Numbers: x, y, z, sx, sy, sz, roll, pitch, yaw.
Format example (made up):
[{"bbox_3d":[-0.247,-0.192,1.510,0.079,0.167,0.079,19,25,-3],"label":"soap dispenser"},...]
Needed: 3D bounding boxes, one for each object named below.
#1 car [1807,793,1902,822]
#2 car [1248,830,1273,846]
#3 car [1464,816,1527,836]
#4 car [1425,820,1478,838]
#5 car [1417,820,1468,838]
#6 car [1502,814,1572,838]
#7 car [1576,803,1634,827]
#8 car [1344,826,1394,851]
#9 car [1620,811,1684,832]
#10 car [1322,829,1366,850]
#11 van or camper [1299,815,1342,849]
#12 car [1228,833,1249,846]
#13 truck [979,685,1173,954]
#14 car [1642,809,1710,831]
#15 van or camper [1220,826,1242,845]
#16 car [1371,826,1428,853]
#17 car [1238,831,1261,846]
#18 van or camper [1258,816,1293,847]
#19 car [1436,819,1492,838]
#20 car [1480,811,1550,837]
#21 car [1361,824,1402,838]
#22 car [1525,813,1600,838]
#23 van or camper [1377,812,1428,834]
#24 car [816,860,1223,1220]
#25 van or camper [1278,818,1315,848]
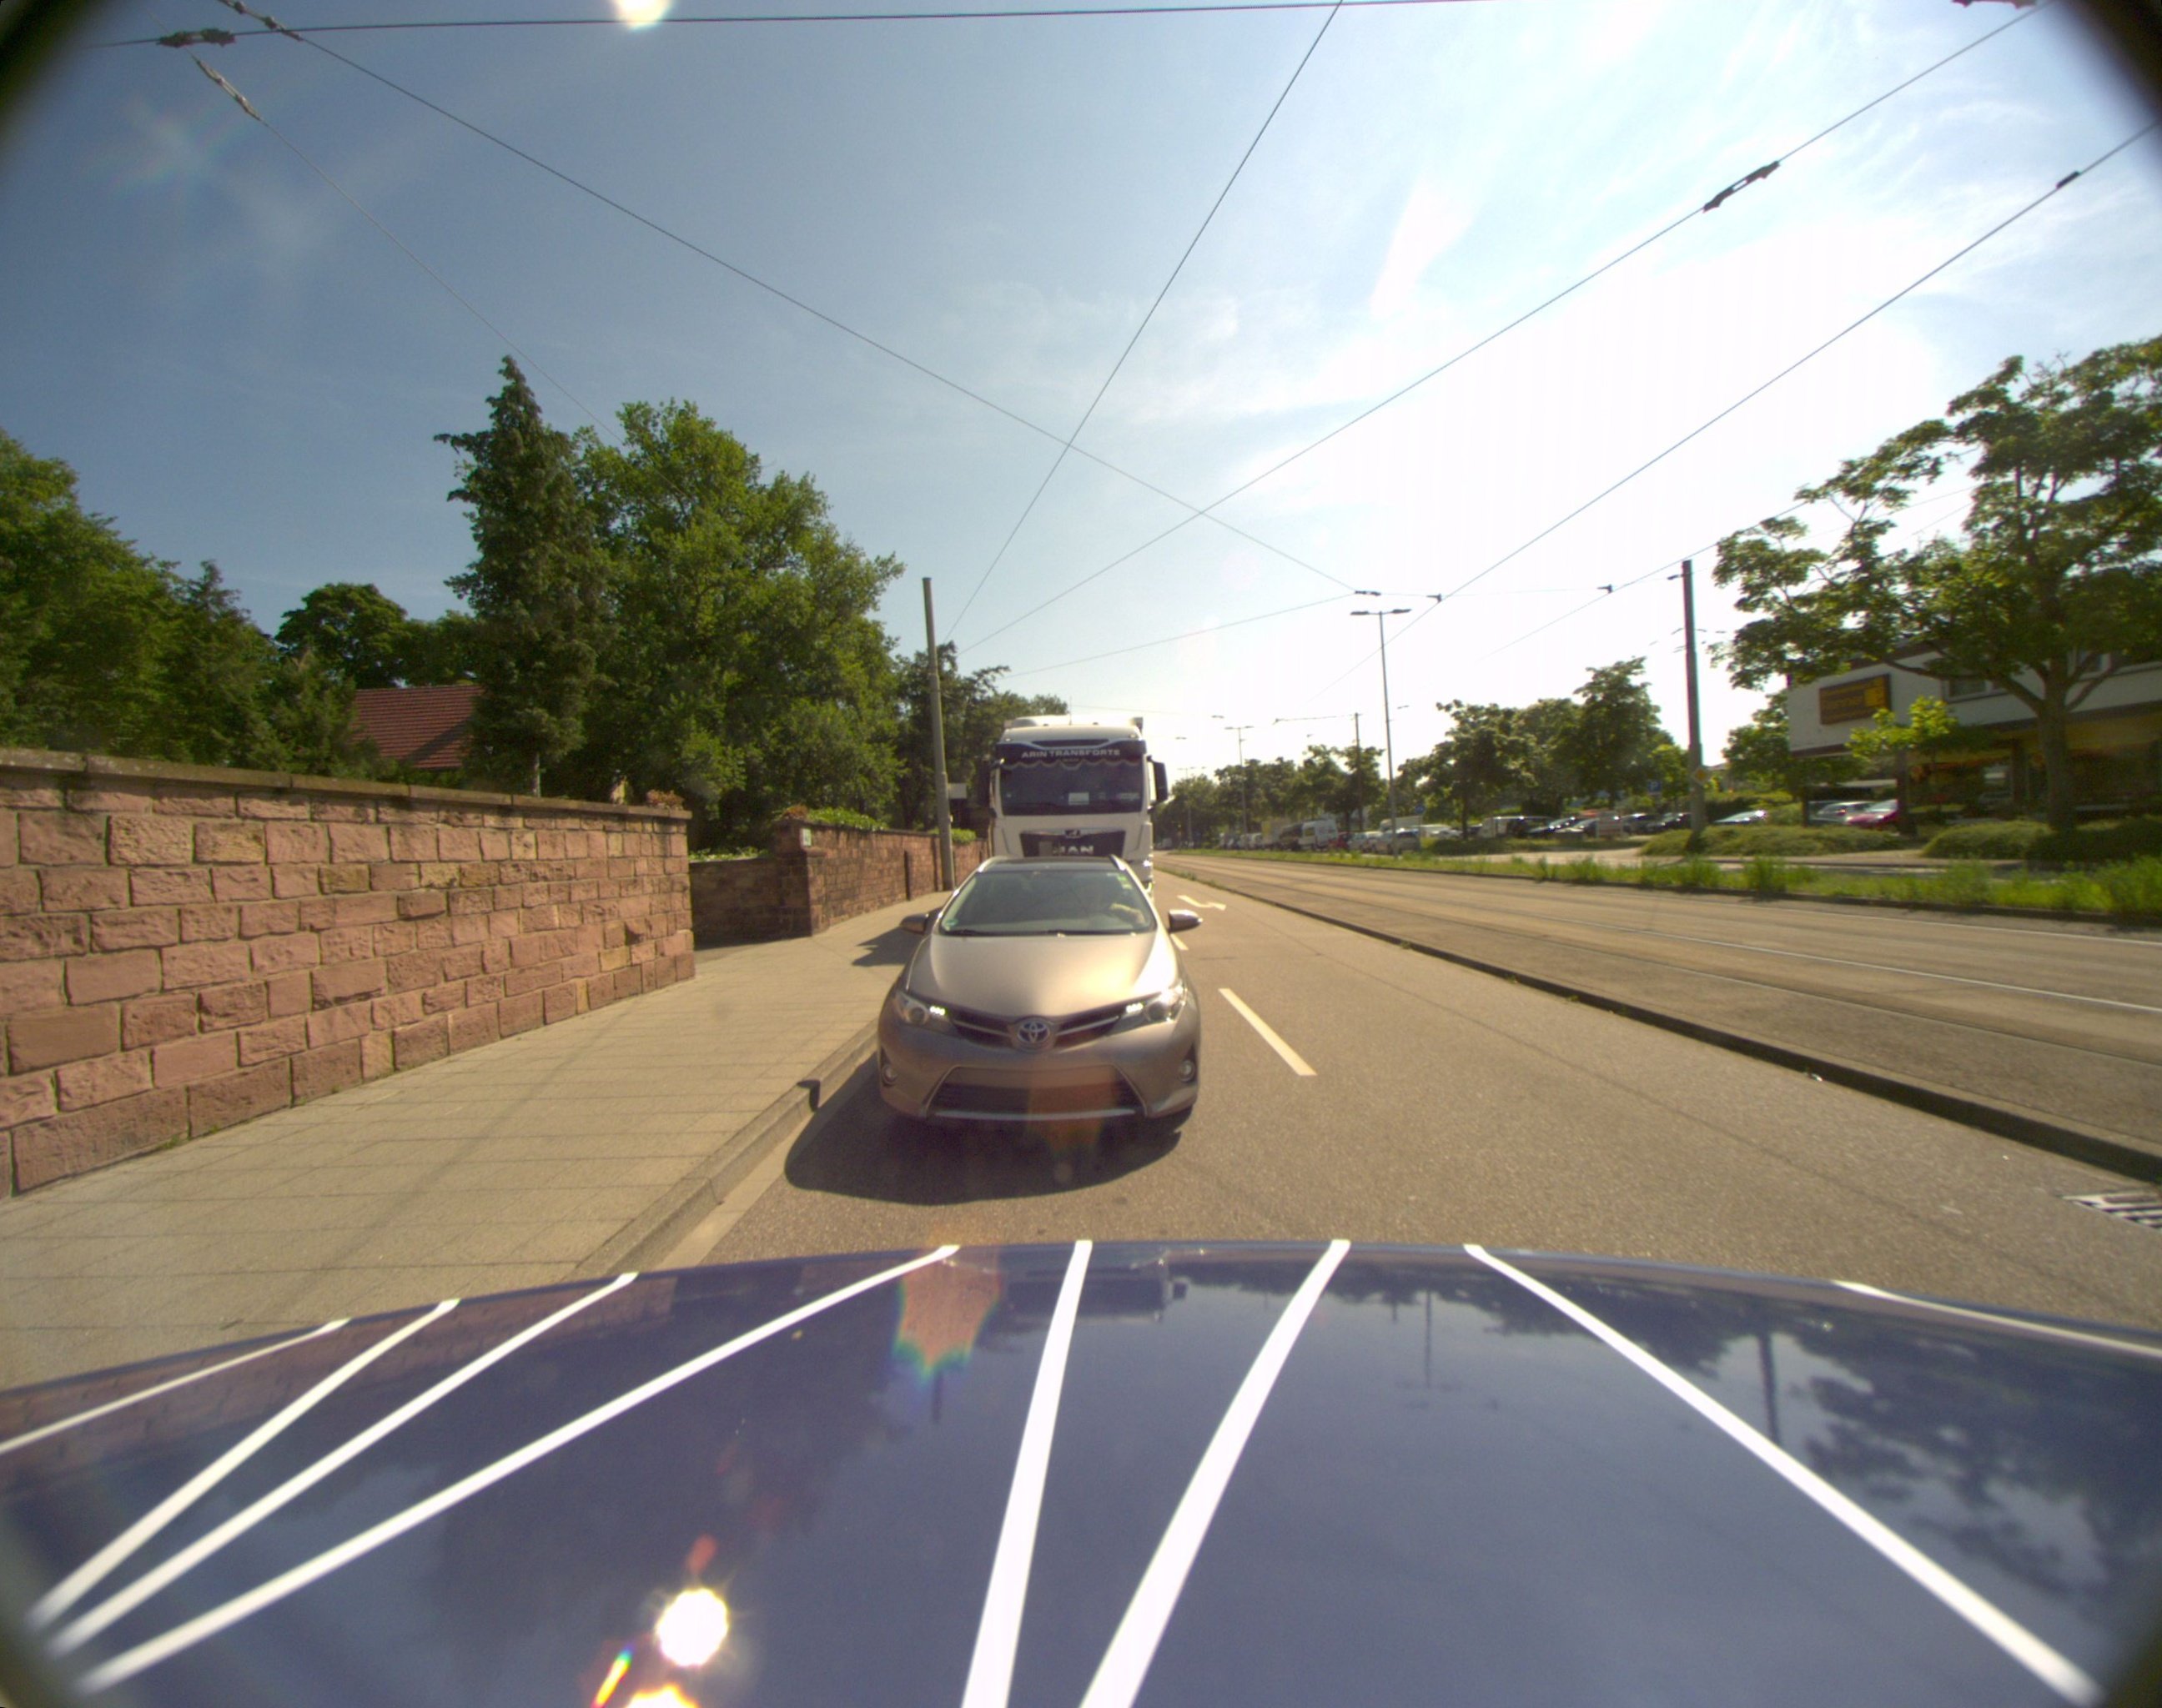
[{"bbox_3d":[43.809,-2.607,43.081,3.624,1.354,1.712,-3,1,-1],"label":"car"},{"bbox_3d":[20.804,-1.811,88.126,1.893,1.724,4.231,-3,1,0],"label":"car"},{"bbox_3d":[30.399,-2.038,55.759,3.624,1.277,1.712,-3,1,-1],"label":"car"},{"bbox_3d":[31.383,-2.117,64.404,3.624,1.274,1.712,-3,1,-1],"label":"car"},{"bbox_3d":[31.715,-2.180,66.791,3.624,1.274,1.712,-3,1,-1],"label":"car"},{"bbox_3d":[30.557,-1.846,50.965,3.624,1.354,1.712,-3,1,-1],"label":"car"},{"bbox_3d":[43.599,-3.221,63.288,3.624,1.767,1.712,-3,1,-1],"label":"car"},{"bbox_3d":[20.554,-1.099,54.355,1.893,1.551,4.284,-3,1,0],"label":"car"},{"bbox_3d":[43.761,-2.501,58.294,3.624,1.354,1.712,-3,1,-1],"label":"car"},{"bbox_3d":[20.544,-1.138,59.473,1.893,1.486,4.231,-3,1,0],"label":"car"},{"bbox_3d":[20.292,-1.828,64.567,2.040,2.617,4.839,-3,1,0],"label":"van or camper"},{"bbox_3d":[20.935,-1.917,101.063,1.893,1.551,4.231,-3,1,0],"label":"car"},{"bbox_3d":[-0.007,-0.569,15.691,2.746,3.852,9.109,-2,1,1],"label":"truck"},{"bbox_3d":[43.561,-2.466,55.704,3.624,1.354,1.712,-3,1,-1],"label":"car"},{"bbox_3d":[21.256,-2.599,107.964,2.114,2.605,5.451,-2,1,1],"label":"van or camper"},{"bbox_3d":[20.383,-0.938,48.844,1.892,1.486,4.285,-6,1,2],"label":"car"},{"bbox_3d":[21.079,-1.935,95.060,1.893,1.757,4.231,-3,1,0],"label":"car"},{"bbox_3d":[20.316,-2.313,79.507,2.128,2.968,5.280,-3,1,0],"label":"van or camper"},{"bbox_3d":[31.031,-2.049,61.642,3.624,1.274,1.812,-3,1,-1],"label":"car"},{"bbox_3d":[30.471,-2.077,53.432,3.749,1.560,1.950,-3,1,-1],"label":"car"},{"bbox_3d":[32.032,-2.485,80.953,3.624,1.274,1.712,-3,1,-1],"label":"car"},{"bbox_3d":[30.517,-1.792,48.226,3.624,1.354,1.712,-3,1,-1],"label":"car"},{"bbox_3d":[44.893,-4.282,106.144,6.081,2.715,2.299,-3,1,3],"label":"van or camper"},{"bbox_3d":[-0.243,0.860,5.638,1.742,1.424,4.461,-3,1,1],"label":"car"},{"bbox_3d":[20.240,-1.972,71.621,2.040,2.617,4.839,-3,1,0],"label":"van or camper"}]
